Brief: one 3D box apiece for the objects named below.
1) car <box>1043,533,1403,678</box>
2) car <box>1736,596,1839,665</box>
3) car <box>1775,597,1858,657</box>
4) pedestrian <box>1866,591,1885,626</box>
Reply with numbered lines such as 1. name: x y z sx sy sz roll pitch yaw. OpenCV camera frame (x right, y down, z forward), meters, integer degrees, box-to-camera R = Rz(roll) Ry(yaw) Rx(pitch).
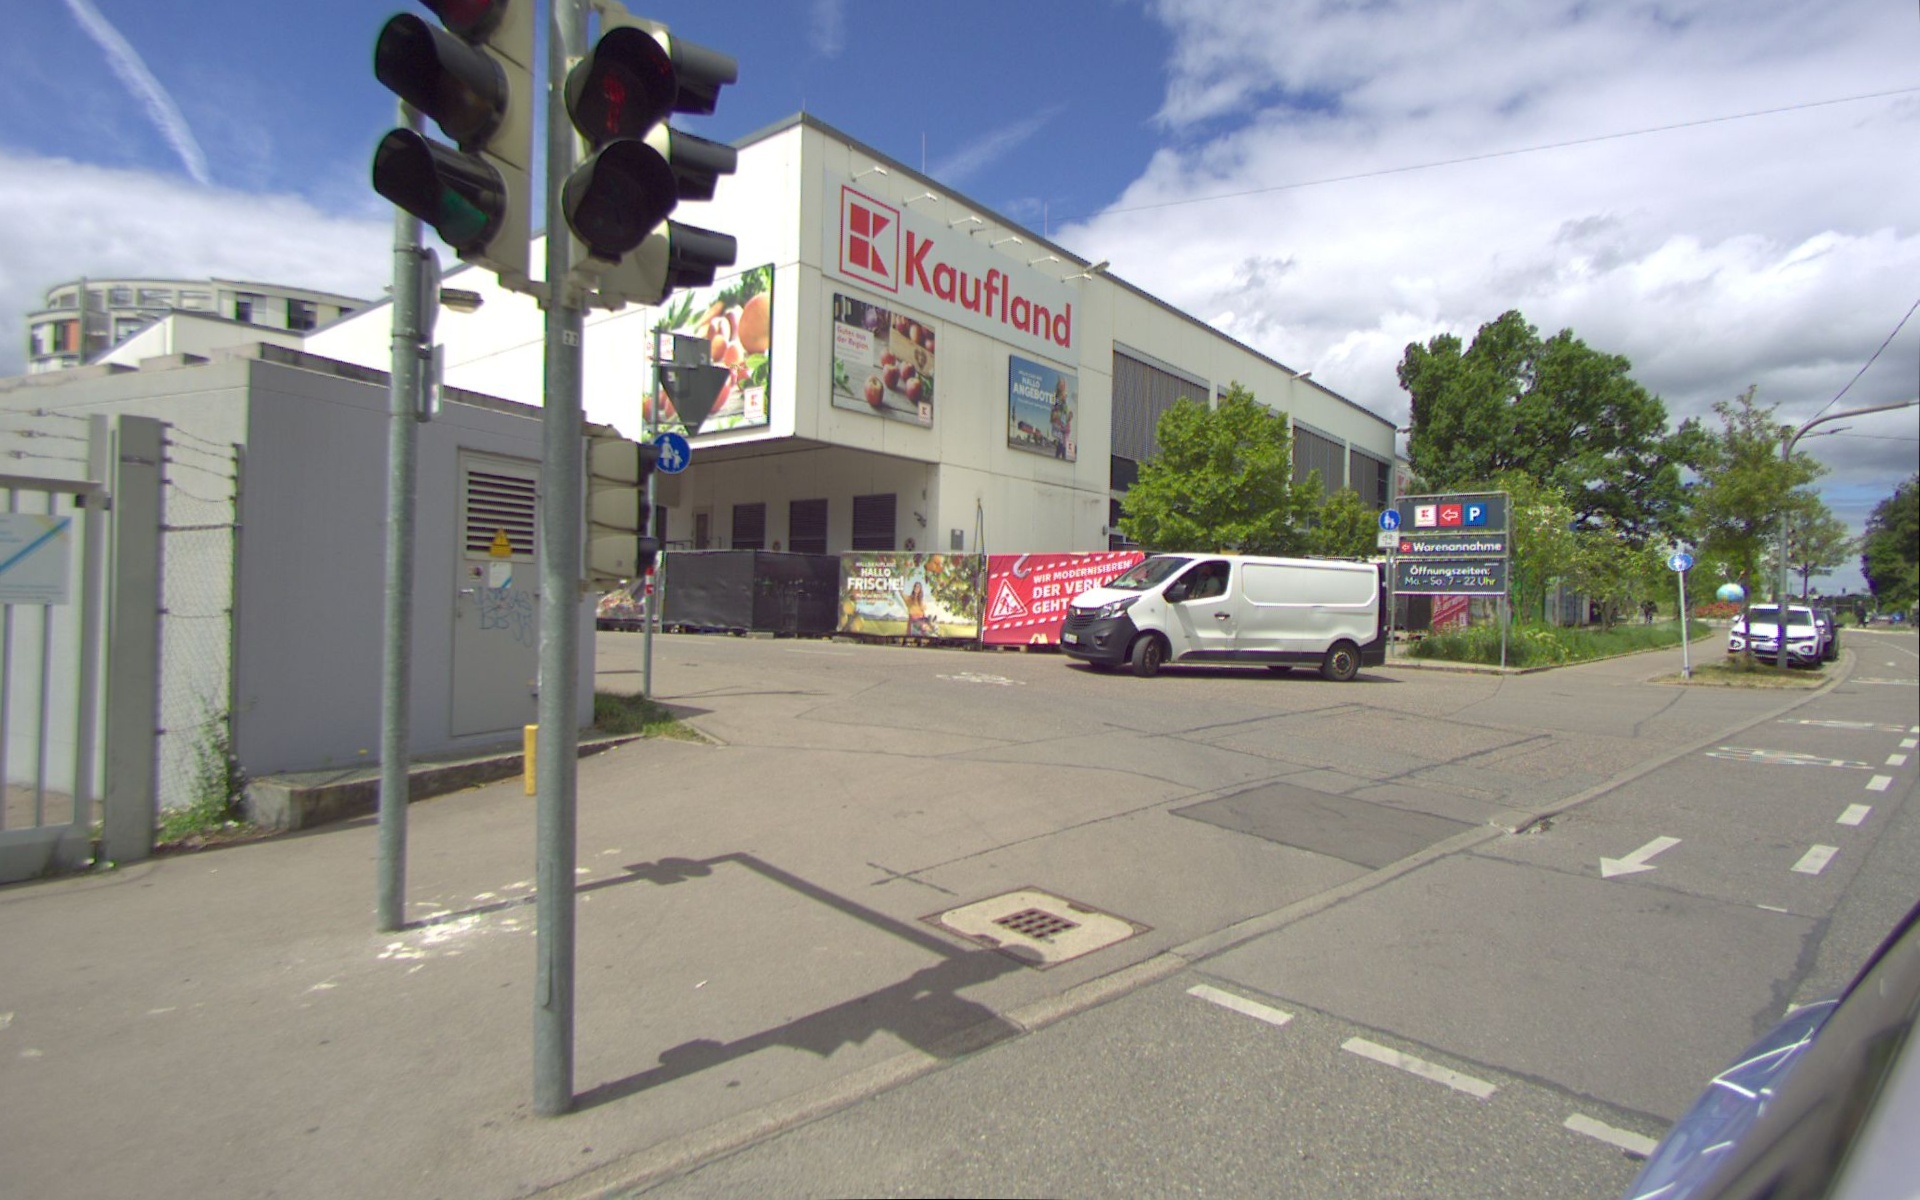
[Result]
1. car: 4.212 0.074 16.396 5.238 2.048 2.005 2 3 -16
2. car: 21.381 0.721 26.102 1.790 1.549 3.860 4 3 43
3. car: 25.366 0.733 29.945 1.599 1.580 3.731 4 3 44
4. pedestrian: 54.370 0.499 60.098 0.711 2.039 0.700 0 -1 -38
